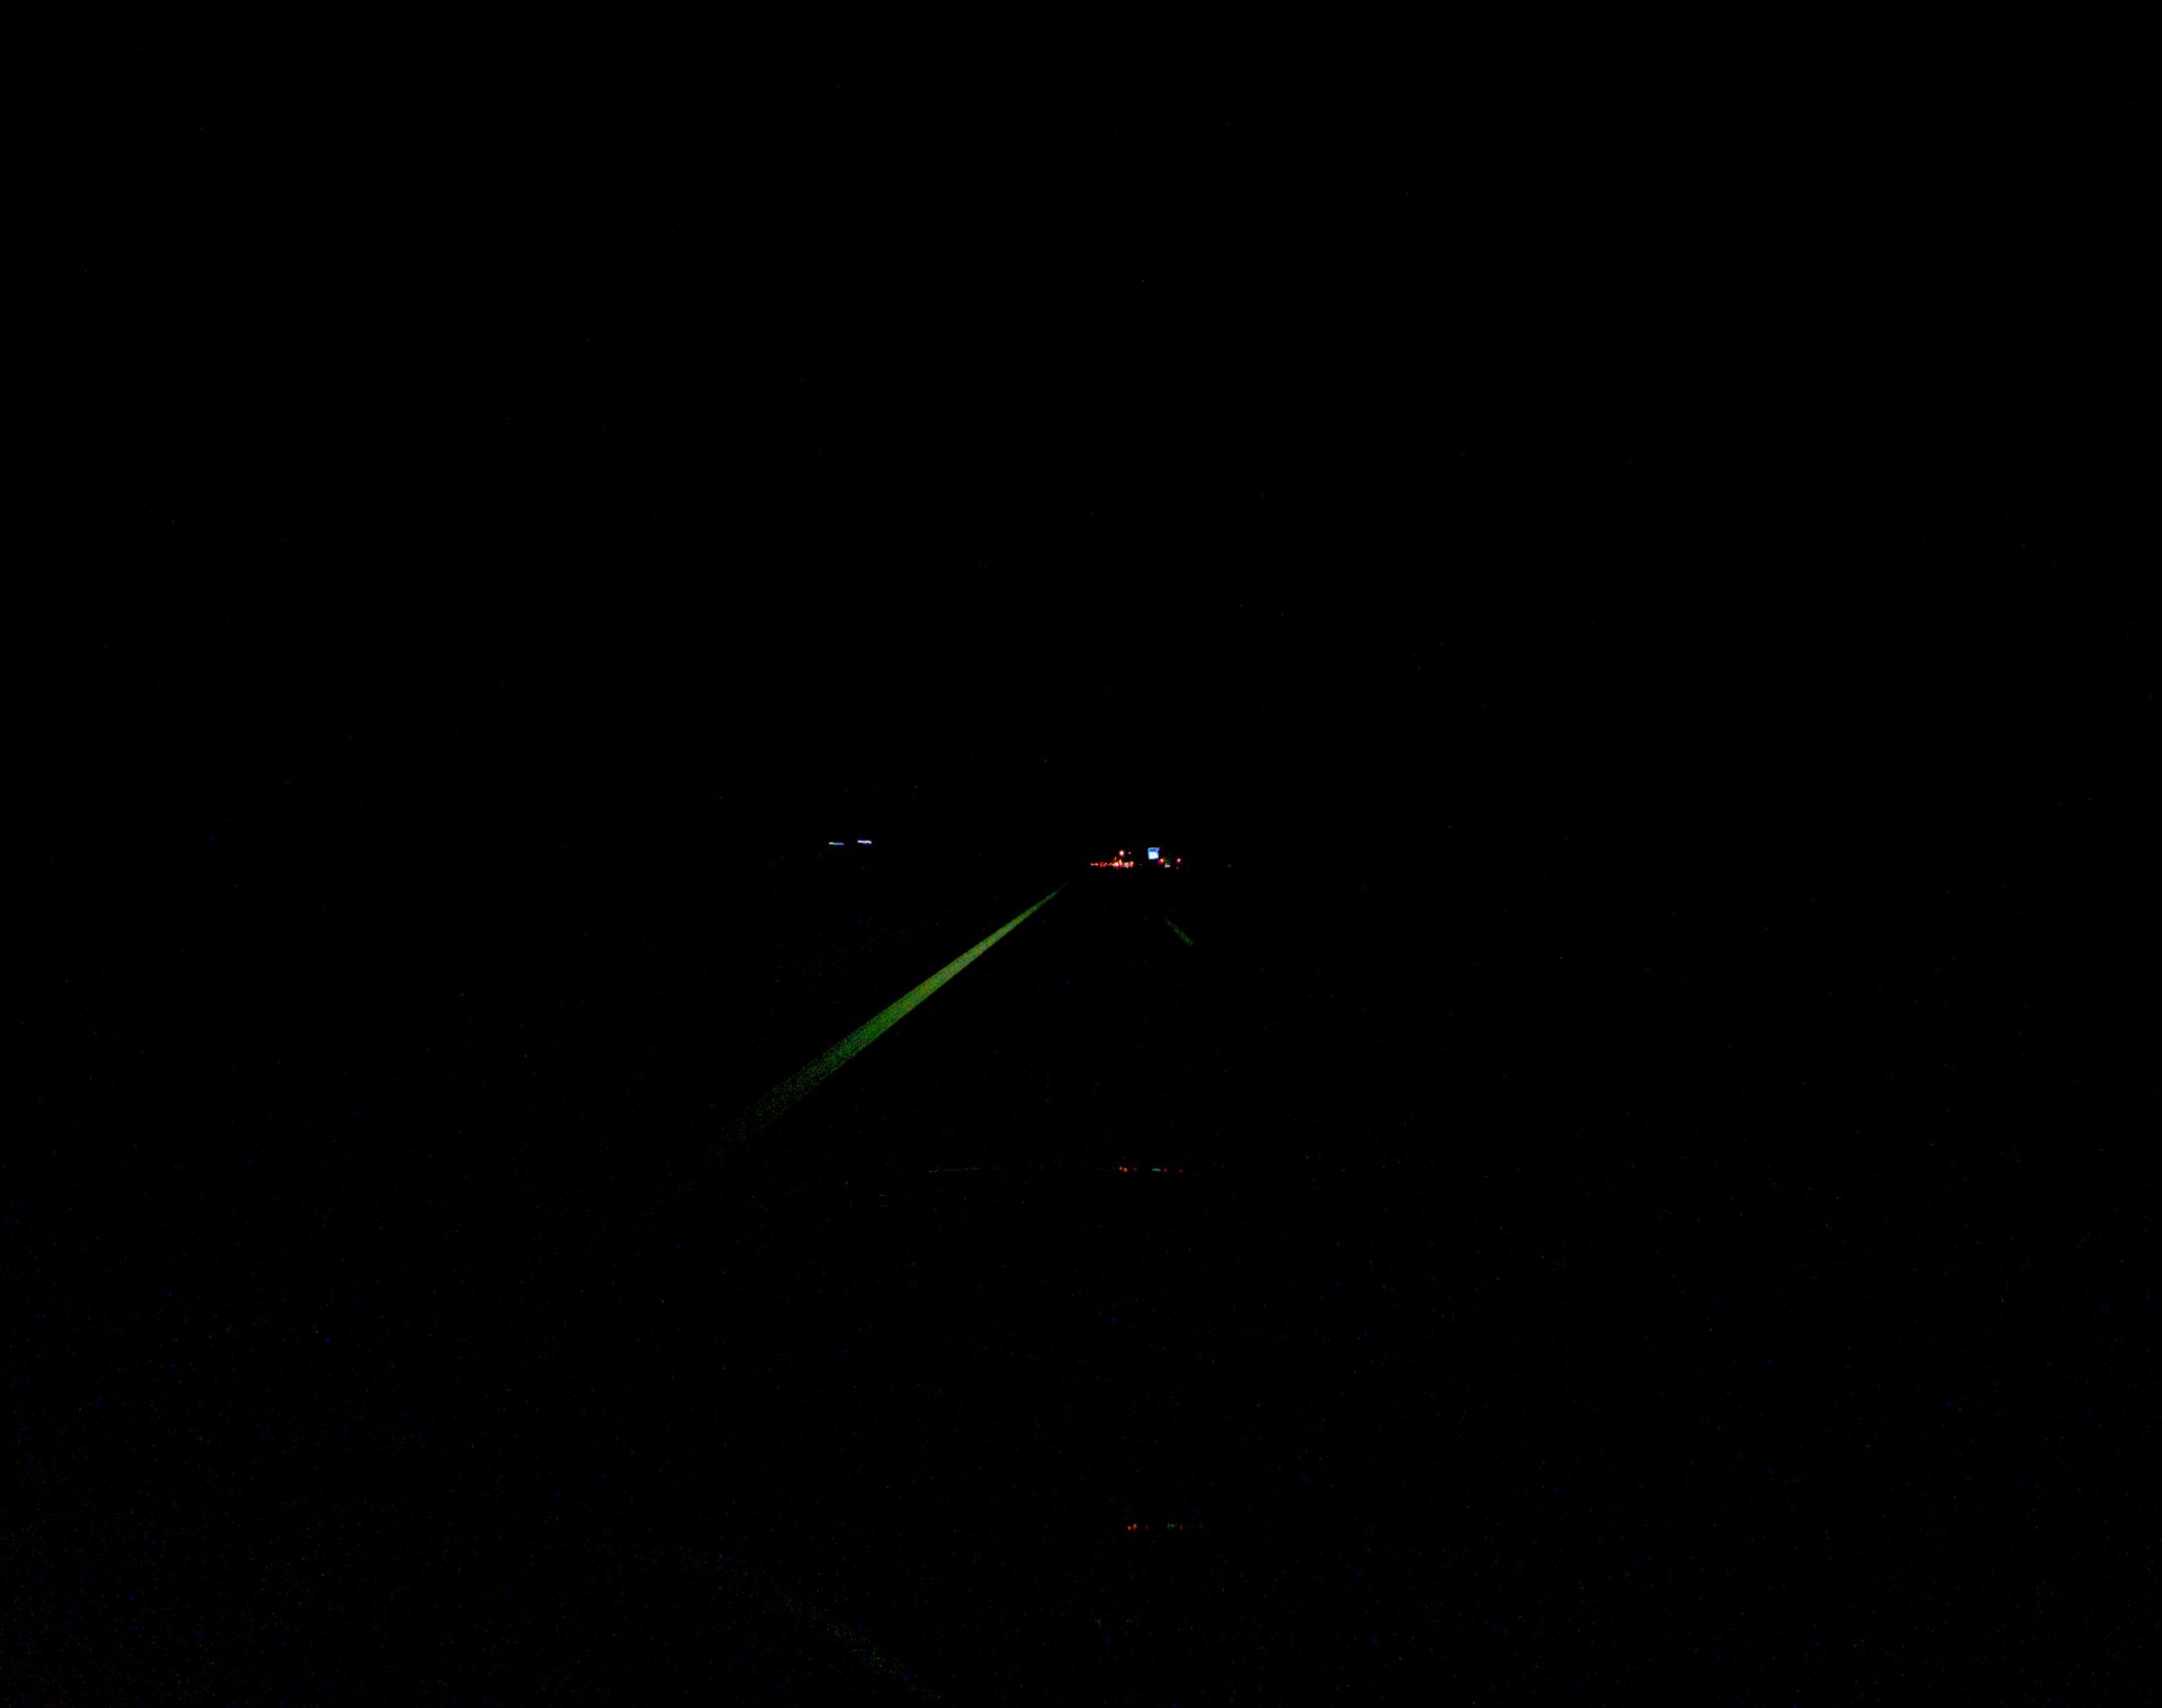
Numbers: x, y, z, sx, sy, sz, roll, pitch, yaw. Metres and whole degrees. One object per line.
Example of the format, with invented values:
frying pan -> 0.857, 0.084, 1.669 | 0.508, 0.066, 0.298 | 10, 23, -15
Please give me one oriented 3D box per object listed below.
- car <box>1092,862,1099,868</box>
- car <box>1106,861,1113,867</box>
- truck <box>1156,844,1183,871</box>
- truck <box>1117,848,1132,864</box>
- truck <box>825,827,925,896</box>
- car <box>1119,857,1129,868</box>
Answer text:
car -> 3.727, 2.954, 213.413 | 1.814, 1.466, 4.250 | 0, 0, 2
car -> 7.558, 2.691, 217.935 | 1.814, 1.466, 4.250 | 0, 0, 2
truck -> 9.571, 0.431, 88.716 | 2.070, 2.691, 7.305 | 0, -2, 0
truck -> 9.598, 0.420, 179.352 | 3.033, 3.324, 10.146 | 0, 0, 2
truck -> -14.788, 0.438, 60.465 | 3.104, 4.202, 16.971 | -4, 0, -1
car -> 5.878, 1.128, 112.081 | 1.341, 1.387, 3.503 | 0, 0, 2
